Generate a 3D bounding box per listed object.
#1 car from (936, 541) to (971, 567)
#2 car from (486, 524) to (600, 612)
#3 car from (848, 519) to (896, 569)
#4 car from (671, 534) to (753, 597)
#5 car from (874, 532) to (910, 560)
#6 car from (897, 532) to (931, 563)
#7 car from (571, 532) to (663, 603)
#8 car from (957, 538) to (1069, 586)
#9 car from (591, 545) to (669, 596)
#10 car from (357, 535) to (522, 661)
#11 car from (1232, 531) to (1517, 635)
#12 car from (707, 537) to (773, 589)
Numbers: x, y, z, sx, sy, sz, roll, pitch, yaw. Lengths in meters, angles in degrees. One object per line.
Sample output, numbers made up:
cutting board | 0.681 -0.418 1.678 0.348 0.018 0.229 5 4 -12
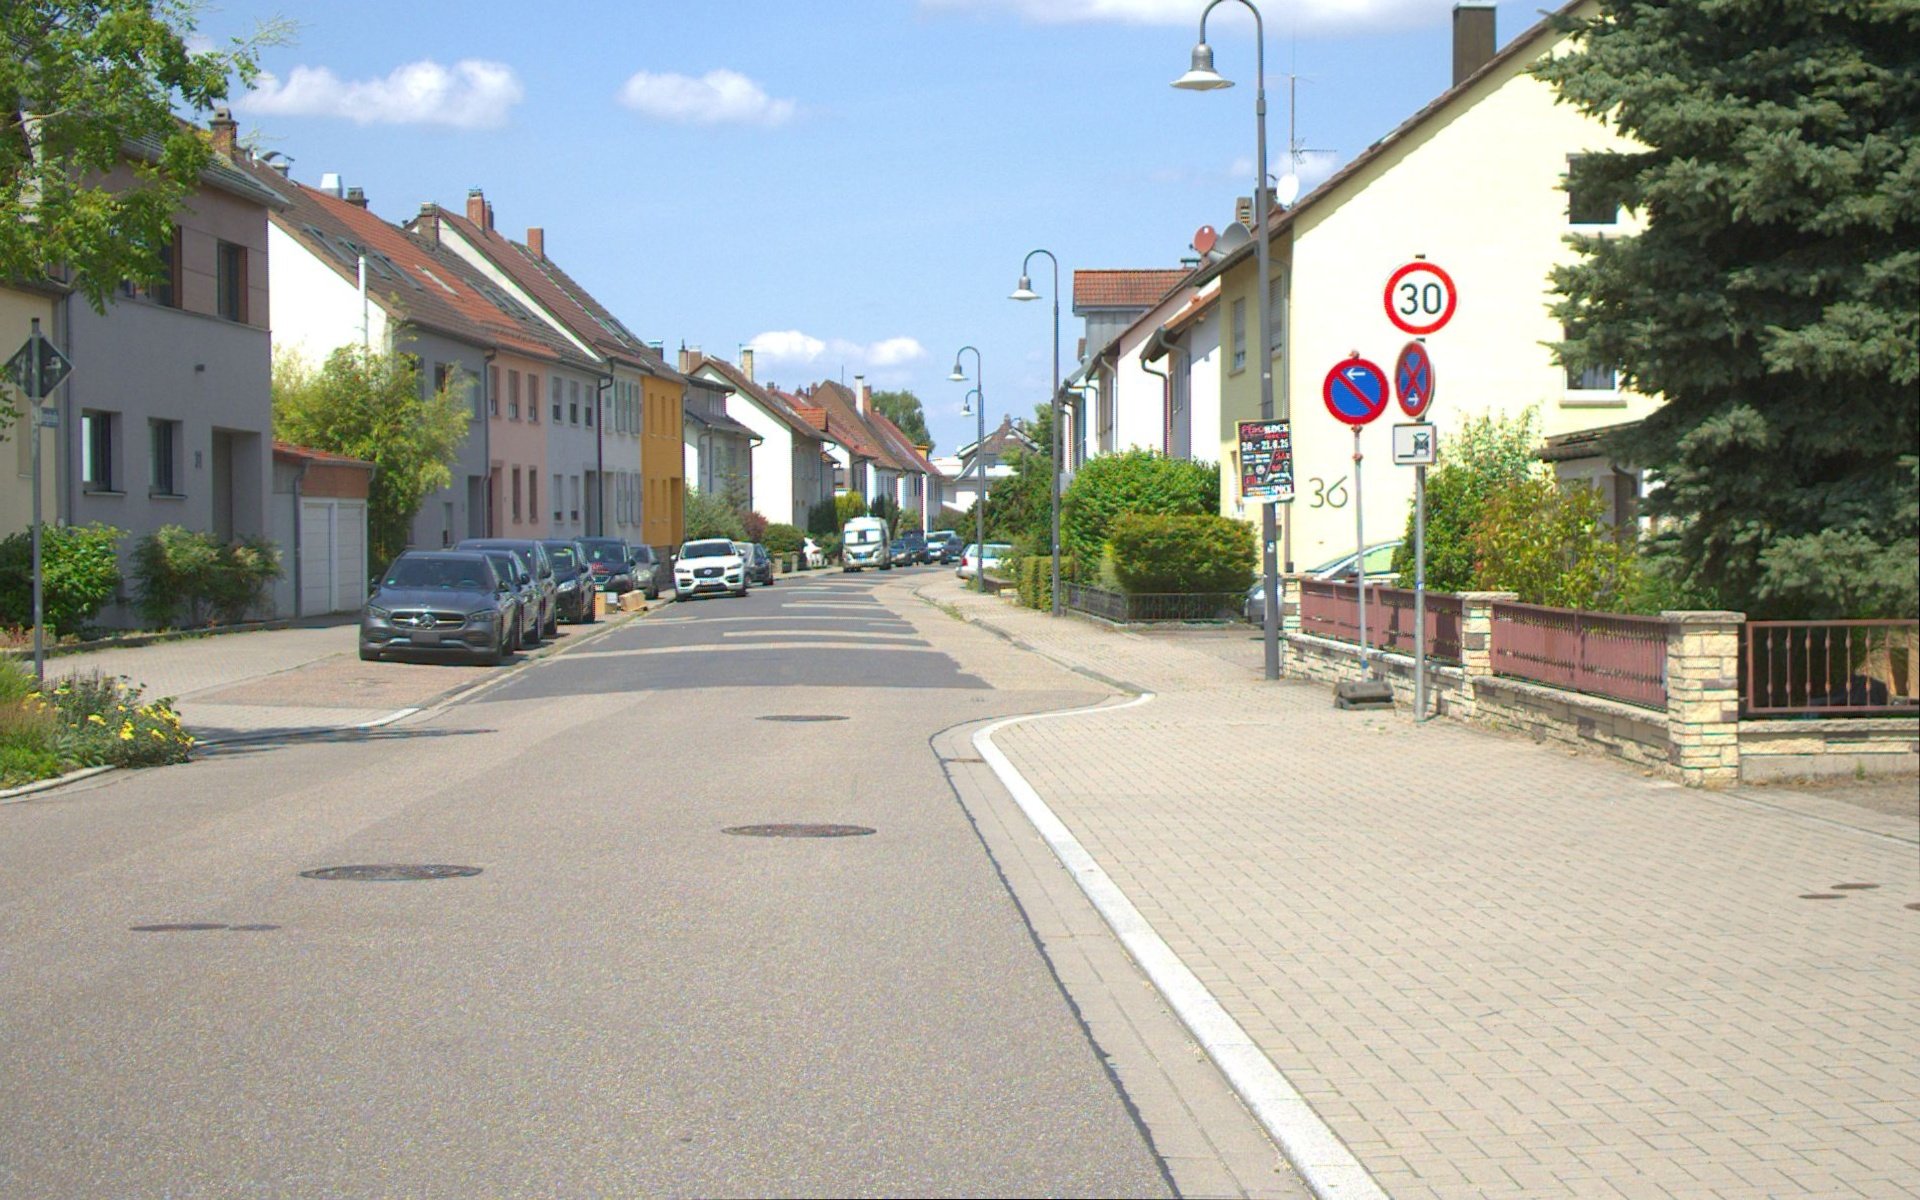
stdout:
car | -0.336 -2.454 185.574 1.691 1.337 3.771 1 0 2
car | -8.115 -0.639 67.180 1.779 1.603 4.000 2 1 -1
car | -4.206 -2.672 164.812 2.045 2.304 3.771 1 0 2
car | -6.833 -0.972 95.149 1.850 1.653 4.000 2 1 1
car | -3.681 -2.935 187.135 1.691 1.498 3.771 1 0 2
car | -2.578 -2.966 194.634 1.691 1.654 3.771 1 0 2
car | -8.152 -0.781 81.966 1.810 1.603 4.000 2 1 -1
car | 1.697 -1.232 111.170 3.523 1.459 1.628 1 0 -1
car | -9.009 -0.821 94.125 1.672 1.331 3.722 2 1 1
car | -6.947 -0.061 46.221 1.816 1.428 4.140 3 2 -4
car | 6.129 -0.261 51.080 3.987 1.468 1.746 -1 1 -1
car | -7.418 -1.255 116.158 1.850 1.653 4.000 2 1 1
